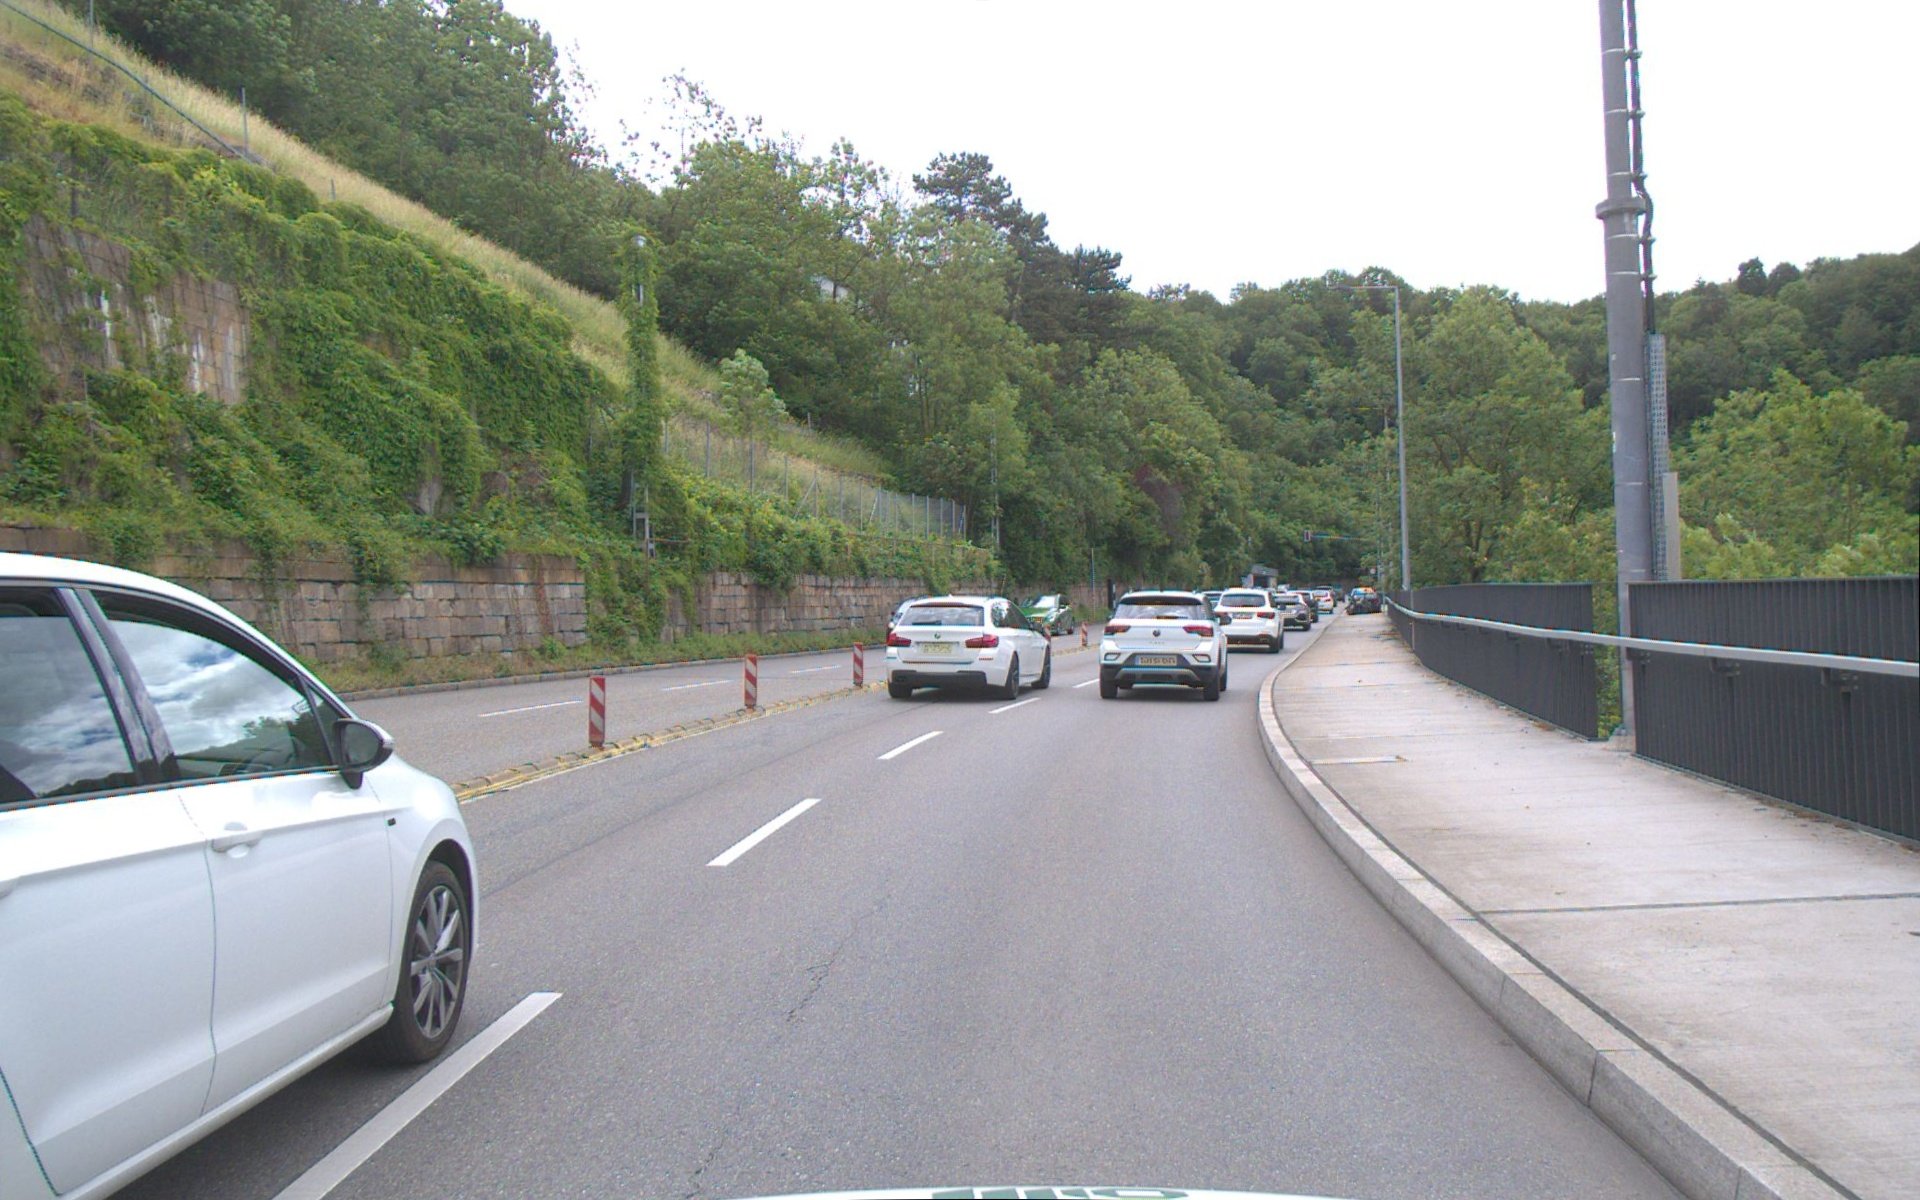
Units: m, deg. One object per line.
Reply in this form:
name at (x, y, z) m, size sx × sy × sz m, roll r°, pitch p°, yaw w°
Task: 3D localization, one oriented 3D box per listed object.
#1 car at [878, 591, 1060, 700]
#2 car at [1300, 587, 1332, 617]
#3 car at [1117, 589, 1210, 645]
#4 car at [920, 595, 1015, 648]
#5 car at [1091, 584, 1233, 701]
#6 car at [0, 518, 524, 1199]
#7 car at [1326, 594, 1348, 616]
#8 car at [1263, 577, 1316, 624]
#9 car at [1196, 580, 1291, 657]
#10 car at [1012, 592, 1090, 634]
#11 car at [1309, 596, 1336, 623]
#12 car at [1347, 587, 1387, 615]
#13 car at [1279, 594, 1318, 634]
car at (0.240, 0.626, 24.961) m, size 1.789 × 1.485 × 4.489 m, roll -1°, pitch 0°, yaw 13°
car at (23.095, 0.121, 107.254) m, size 1.951 × 1.892 × 4.003 m, roll 0°, pitch 0°, yaw 13°
car at (5.998, 0.451, 48.235) m, size 1.951 × 1.529 × 4.670 m, roll 0°, pitch 1°, yaw 16°
car at (0.274, 0.597, 48.550) m, size 1.670 × 1.467 × 4.002 m, roll 0°, pitch 0°, yaw 18°
car at (3.161, 0.573, 25.252) m, size 1.789 × 1.634 × 4.004 m, roll 0°, pitch 0°, yaw 12°
car at (-2.520, 0.652, 3.817) m, size 1.783 × 1.608 × 4.356 m, roll 1°, pitch 0°, yaw 1°
car at (36.469, 0.481, 159.923) m, size 1.951 × 2.049 × 4.003 m, roll 0°, pitch 0°, yaw 15°
car at (12.881, 0.021, 64.470) m, size 1.951 × 1.747 × 4.003 m, roll 0°, pitch 0°, yaw 12°
car at (7.691, 0.449, 44.545) m, size 1.952 × 1.747 × 4.117 m, roll -7°, pitch -1°, yaw 15°
car at (3.525, 0.471, 63.185) m, size 1.812 × 1.542 × 4.335 m, roll 0°, pitch 0°, yaw 20°
car at (29.053, 0.755, 132.653) m, size 1.951 × 2.049 × 4.003 m, roll 0°, pitch 0°, yaw 15°
car at (22.634, 0.049, 92.029) m, size 1.776 × 1.534 × 4.003 m, roll 0°, pitch 0°, yaw 8°
car at (15.987, 0.640, 78.020) m, size 1.707 × 1.812 × 3.537 m, roll 0°, pitch 0°, yaw 13°
